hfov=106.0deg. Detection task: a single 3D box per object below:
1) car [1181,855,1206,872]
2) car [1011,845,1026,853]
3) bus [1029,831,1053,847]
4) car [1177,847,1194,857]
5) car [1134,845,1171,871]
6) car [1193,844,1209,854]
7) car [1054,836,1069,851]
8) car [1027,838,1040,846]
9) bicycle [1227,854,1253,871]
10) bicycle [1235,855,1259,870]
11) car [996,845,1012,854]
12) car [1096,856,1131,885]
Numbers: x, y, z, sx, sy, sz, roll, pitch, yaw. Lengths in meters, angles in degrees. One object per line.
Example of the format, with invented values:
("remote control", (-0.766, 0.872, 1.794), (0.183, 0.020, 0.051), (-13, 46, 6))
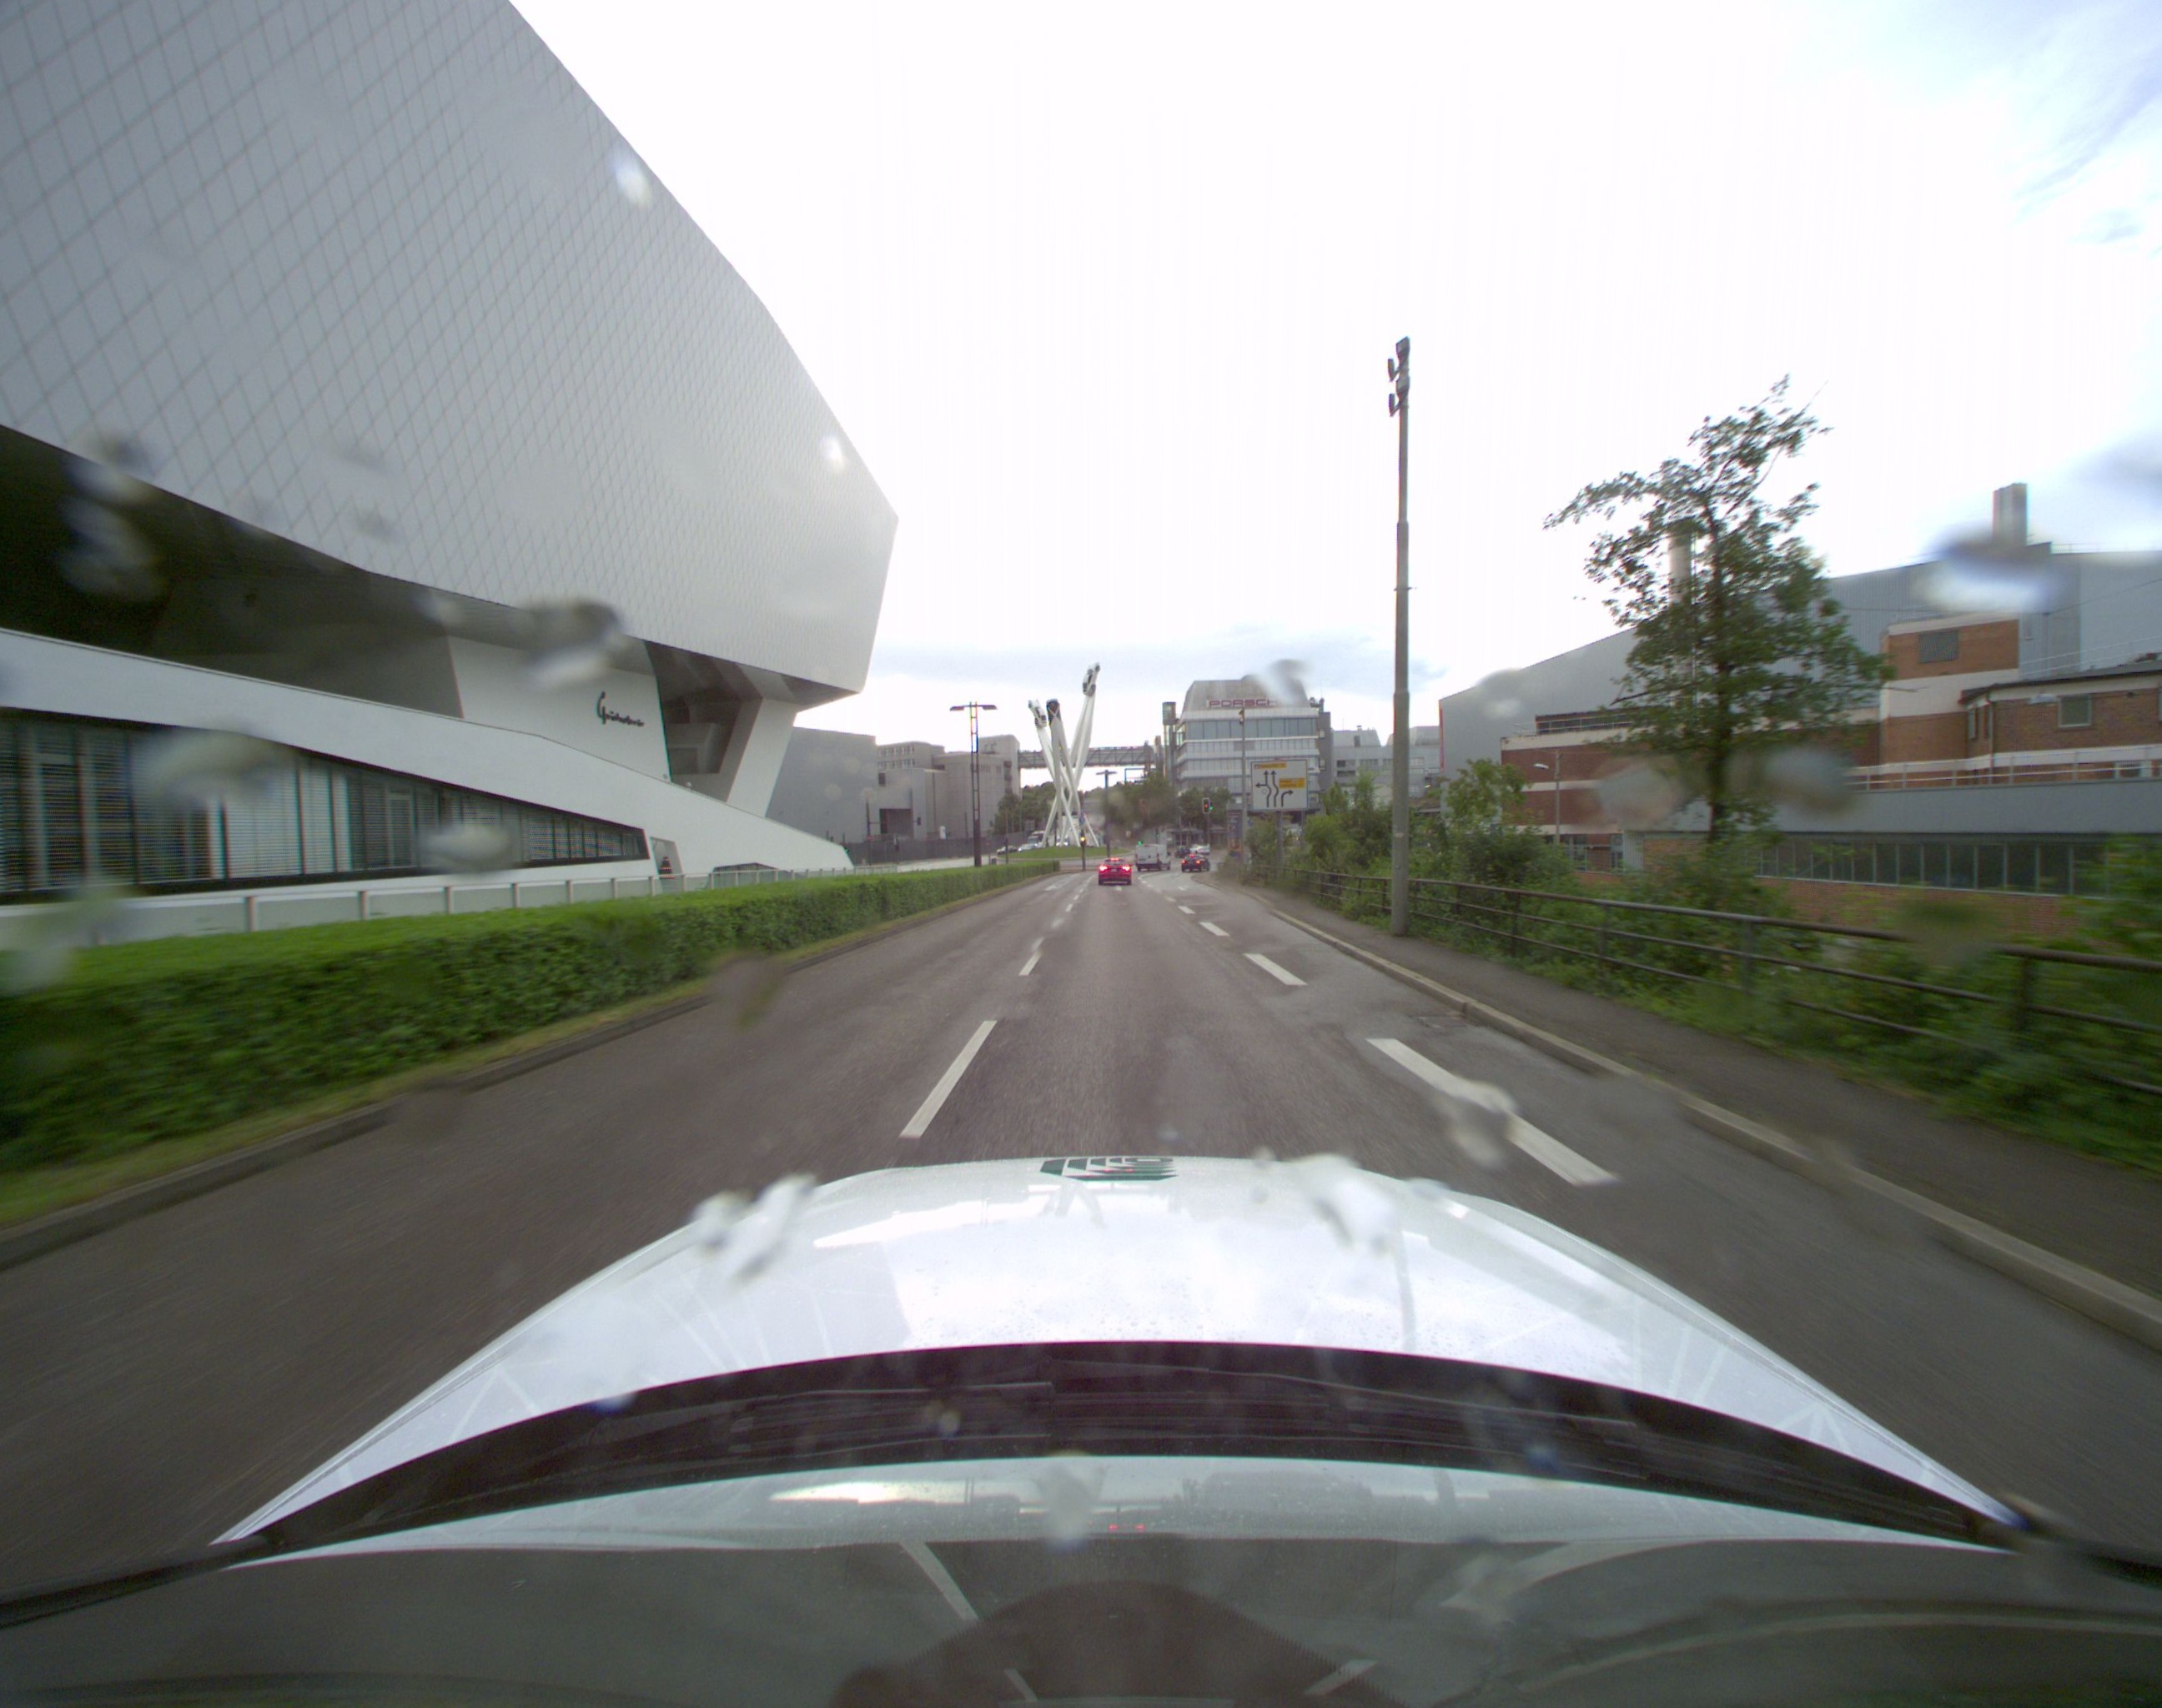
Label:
("car", (9.297, 0.749, 67.113), (1.598, 1.291, 3.580), (-2, 0, 14))
("car", (-10.416, -0.825, 136.407), (1.836, 1.338, 4.006), (-2, 0, 5))
("bus", (-8.398, -3.152, 171.505), (2.654, 3.200, 12.699), (-1, 1, 8))
("car", (13.669, -0.245, 106.648), (1.553, 1.288, 3.410), (-1, 0, -3))
("car", (6.146, 0.313, 69.626), (2.216, 2.108, 4.975), (-2, -1, 16))
("car", (16.447, -0.635, 111.796), (1.663, 1.301, 3.884), (-1, 0, -1))
("car", (-3.367, -1.848, 142.485), (1.985, 2.447, 5.432), (-2, 1, 4))
("car", (-9.119, -2.217, 156.248), (1.825, 1.472, 4.518), (-2, 0, 4))
("bicycle", (11.788, 0.623, 60.331), (1.791, 1.161, 0.593), (-2, -1, 4))
("bicycle", (12.811, 0.639, 63.021), (1.759, 1.140, 0.680), (-2, -1, 8))
("car", (-12.858, -0.734, 136.285), (1.825, 1.472, 4.518), (-2, 0, 4))
("car", (1.735, 0.861, 43.570), (1.766, 1.464, 3.734), (-1, 0, 2))
